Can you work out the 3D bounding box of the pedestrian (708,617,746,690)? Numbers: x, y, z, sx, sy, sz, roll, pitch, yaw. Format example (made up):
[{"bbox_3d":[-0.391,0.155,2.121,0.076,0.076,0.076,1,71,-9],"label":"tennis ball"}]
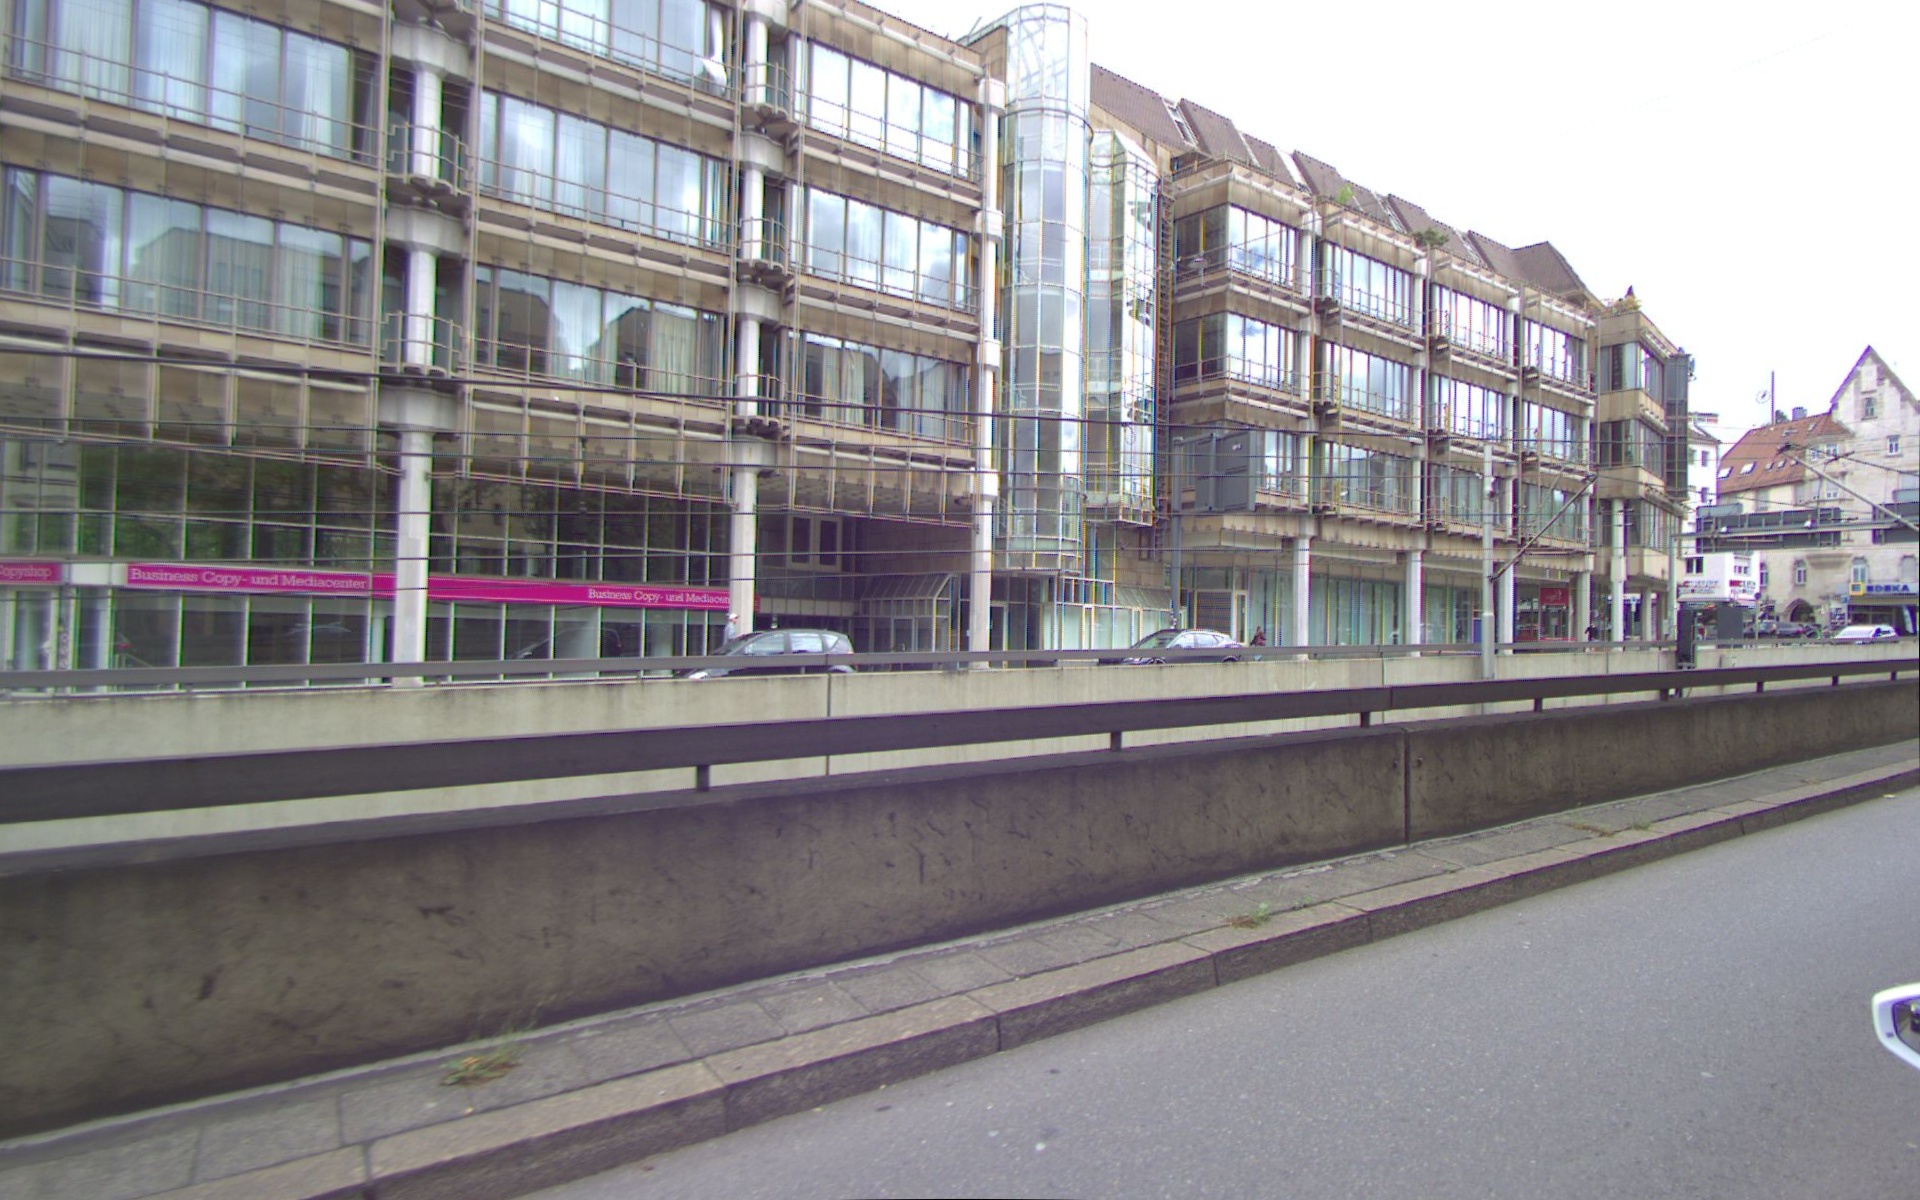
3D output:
[{"bbox_3d":[-6.009,1.360,25.855,0.732,1.817,0.726,1,0,-32],"label":"pedestrian"}]

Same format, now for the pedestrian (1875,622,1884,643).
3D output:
[{"bbox_3d":[79.908,2.790,87.291,0.507,1.803,0.570,1,-1,-40],"label":"pedestrian"}]

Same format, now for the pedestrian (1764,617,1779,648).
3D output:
[{"bbox_3d":[47.839,1.933,59.203,0.569,1.803,0.508,1,-1,-24],"label":"pedestrian"}]

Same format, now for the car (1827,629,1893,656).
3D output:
[{"bbox_3d":[52.127,2.450,58.166,4.363,1.521,1.655,1,-1,-32],"label":"car"}]

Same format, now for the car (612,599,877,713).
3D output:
[{"bbox_3d":[-4.170,1.036,19.750,4.741,1.989,1.981,1,-2,-34],"label":"car"}]

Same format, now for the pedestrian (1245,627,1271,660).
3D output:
[{"bbox_3d":[12.217,1.779,41.176,0.732,1.282,0.726,1,0,-32],"label":"pedestrian"}]

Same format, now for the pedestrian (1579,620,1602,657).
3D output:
[{"bbox_3d":[31.925,1.953,50.875,0.732,1.836,0.726,1,0,-32],"label":"pedestrian"}]

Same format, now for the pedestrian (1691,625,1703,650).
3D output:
[{"bbox_3d":[54.376,2.758,74.092,0.569,1.803,0.508,1,-1,-24],"label":"pedestrian"}]

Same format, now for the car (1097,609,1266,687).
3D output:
[{"bbox_3d":[6.043,1.293,27.240,4.333,1.939,1.982,2,-1,-33],"label":"car"}]

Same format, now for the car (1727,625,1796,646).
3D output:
[{"bbox_3d":[59.913,2.659,75.176,3.981,1.521,1.662,-1,-1,39],"label":"car"}]
